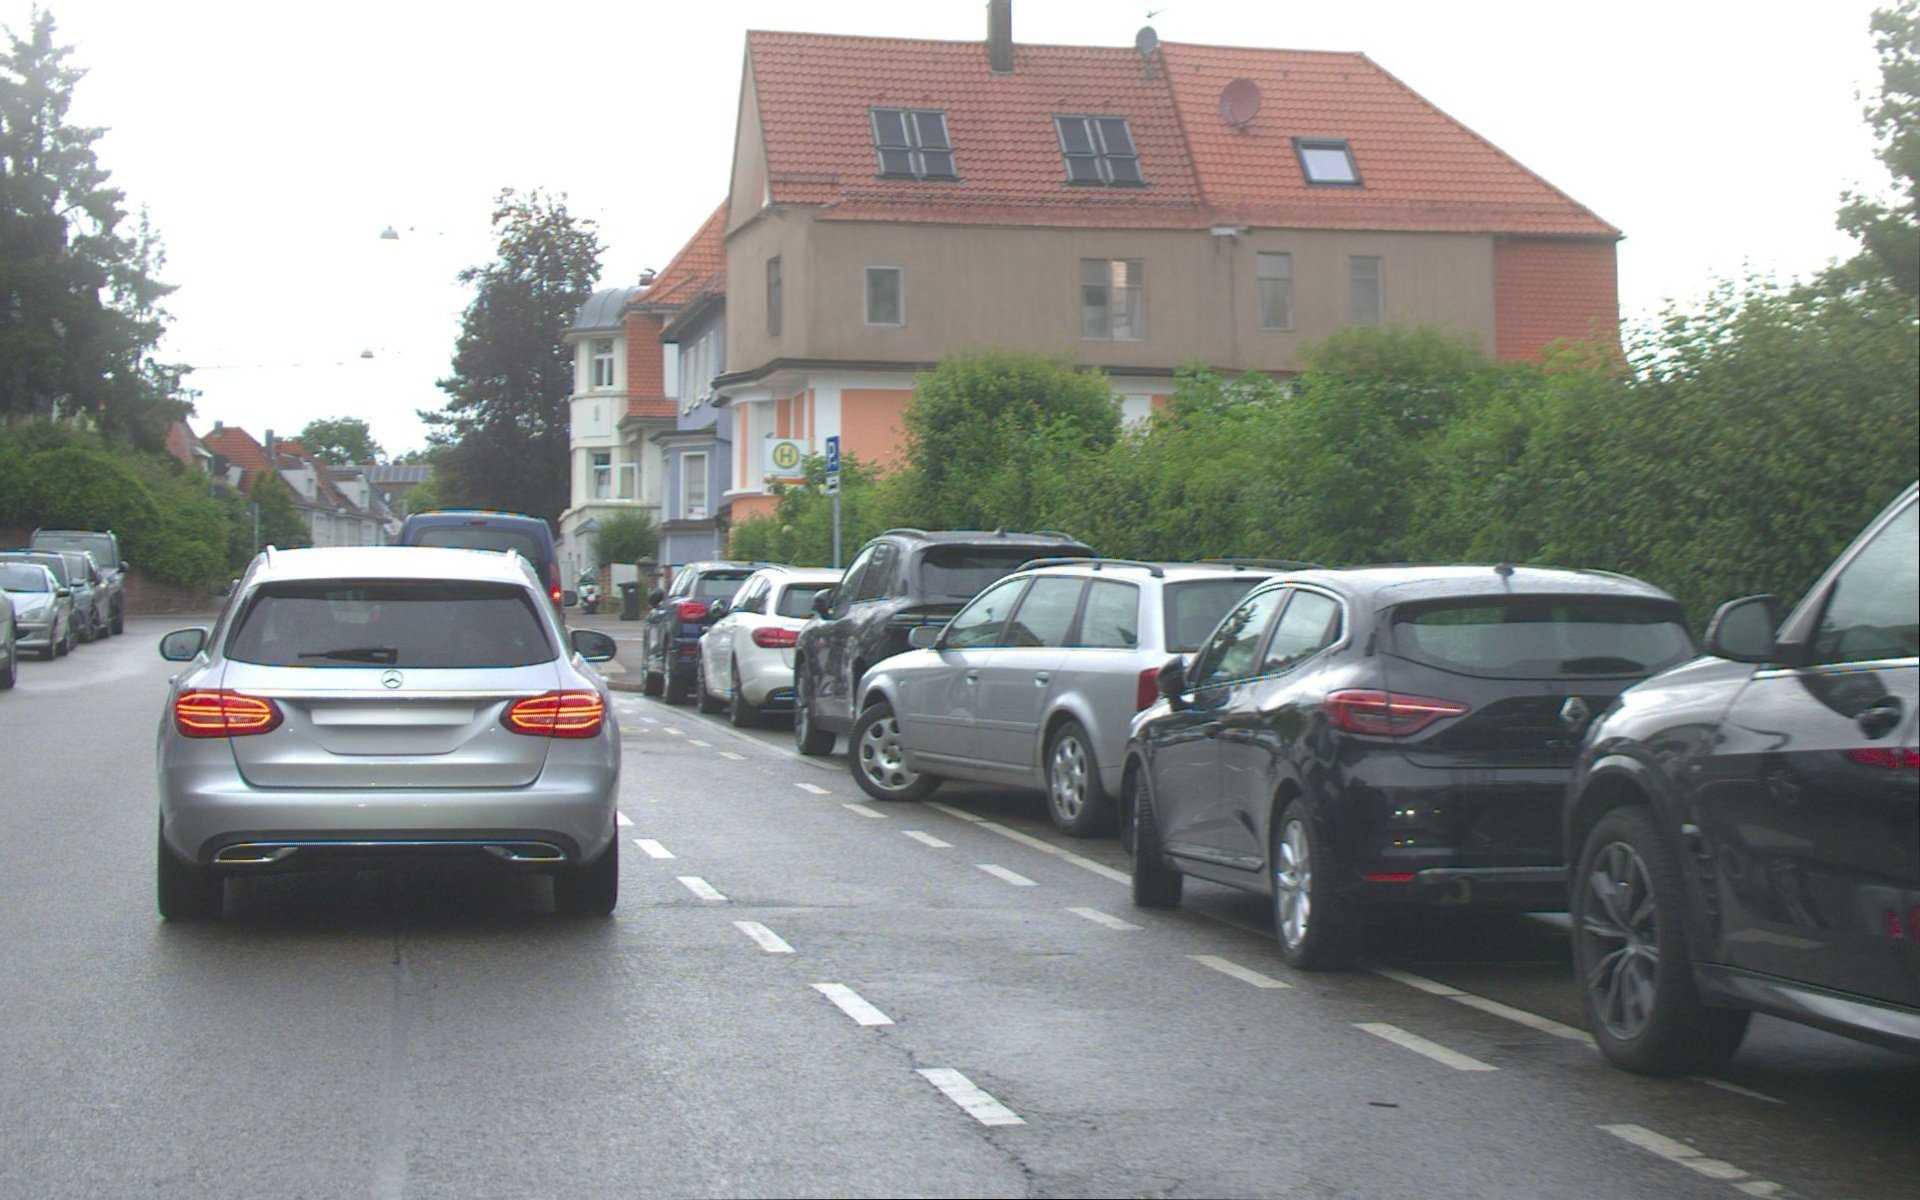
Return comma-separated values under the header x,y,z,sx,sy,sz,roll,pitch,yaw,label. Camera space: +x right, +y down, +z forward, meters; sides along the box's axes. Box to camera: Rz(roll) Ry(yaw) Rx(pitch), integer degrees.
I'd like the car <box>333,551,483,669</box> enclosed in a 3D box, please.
x,y,z,sx,sy,sz,roll,pitch,yaw,label
-7.243,0.091,45.076,1.853,1.453,4.096,0,1,-9,car

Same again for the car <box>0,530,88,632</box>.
x,y,z,sx,sy,sz,roll,pitch,yaw,label
-14.528,-0.323,54.135,1.496,1.518,3.160,1,1,-14,car

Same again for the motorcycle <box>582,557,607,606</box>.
x,y,z,sx,sy,sz,roll,pitch,yaw,label
-9.647,-0.491,90.665,0.581,1.257,2.332,-1,1,-7,motorcycle

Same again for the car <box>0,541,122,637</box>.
x,y,z,sx,sy,sz,roll,pitch,yaw,label
-15.463,-0.222,58.717,1.897,1.510,4.343,2,1,-10,car

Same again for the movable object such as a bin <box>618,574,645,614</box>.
x,y,z,sx,sy,sz,roll,pitch,yaw,label
-7.757,-0.144,81.179,0.548,0.933,0.634,-2,1,-10,movable object such as a bin

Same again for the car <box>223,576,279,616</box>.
x,y,z,sx,sy,sz,roll,pitch,yaw,label
-28.290,-0.175,137.286,2.116,1.466,4.018,1,1,-11,car

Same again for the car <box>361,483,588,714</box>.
x,y,z,sx,sy,sz,roll,pitch,yaw,label
-4.382,-0.072,31.163,1.824,1.876,4.096,-3,2,-8,car

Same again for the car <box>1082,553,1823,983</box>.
x,y,z,sx,sy,sz,roll,pitch,yaw,label
1.730,0.550,13.438,1.688,1.417,3.984,1,0,-10,car

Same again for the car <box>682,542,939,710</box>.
x,y,z,sx,sy,sz,roll,pitch,yaw,label
-1.472,0.191,32.033,1.713,1.400,4.609,2,1,-11,car

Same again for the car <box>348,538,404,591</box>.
x,y,z,sx,sy,sz,roll,pitch,yaw,label
-27.584,-1.686,162.335,2.466,2.392,4.001,-2,1,-10,car

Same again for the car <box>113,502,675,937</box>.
x,y,z,sx,sy,sz,roll,pitch,yaw,label
-2.390,0.402,14.504,1.982,1.548,4.299,0,1,-10,car

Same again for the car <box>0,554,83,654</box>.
x,y,z,sx,sy,sz,roll,pitch,yaw,label
-13.646,0.031,49.600,1.609,1.333,3.842,2,1,-10,car

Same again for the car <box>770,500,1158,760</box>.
x,y,z,sx,sy,sz,roll,pitch,yaw,label
-0.089,0.168,24.942,1.886,1.657,4.549,2,1,-11,car

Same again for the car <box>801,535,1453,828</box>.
x,y,z,sx,sy,sz,roll,pitch,yaw,label
0.788,0.385,19.672,1.798,1.435,4.643,1,1,-24,car

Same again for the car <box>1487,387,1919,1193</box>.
x,y,z,sx,sy,sz,roll,pitch,yaw,label
3.049,0.418,8.126,2.026,1.776,4.900,0,1,-11,car

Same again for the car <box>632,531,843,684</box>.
x,y,z,sx,sy,sz,roll,pitch,yaw,label
-2.479,0.066,37.425,1.753,1.525,4.207,2,0,-11,car

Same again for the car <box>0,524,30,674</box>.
x,y,z,sx,sy,sz,roll,pitch,yaw,label
-11.184,-0.023,36.979,1.897,1.562,4.239,-1,1,-10,car
